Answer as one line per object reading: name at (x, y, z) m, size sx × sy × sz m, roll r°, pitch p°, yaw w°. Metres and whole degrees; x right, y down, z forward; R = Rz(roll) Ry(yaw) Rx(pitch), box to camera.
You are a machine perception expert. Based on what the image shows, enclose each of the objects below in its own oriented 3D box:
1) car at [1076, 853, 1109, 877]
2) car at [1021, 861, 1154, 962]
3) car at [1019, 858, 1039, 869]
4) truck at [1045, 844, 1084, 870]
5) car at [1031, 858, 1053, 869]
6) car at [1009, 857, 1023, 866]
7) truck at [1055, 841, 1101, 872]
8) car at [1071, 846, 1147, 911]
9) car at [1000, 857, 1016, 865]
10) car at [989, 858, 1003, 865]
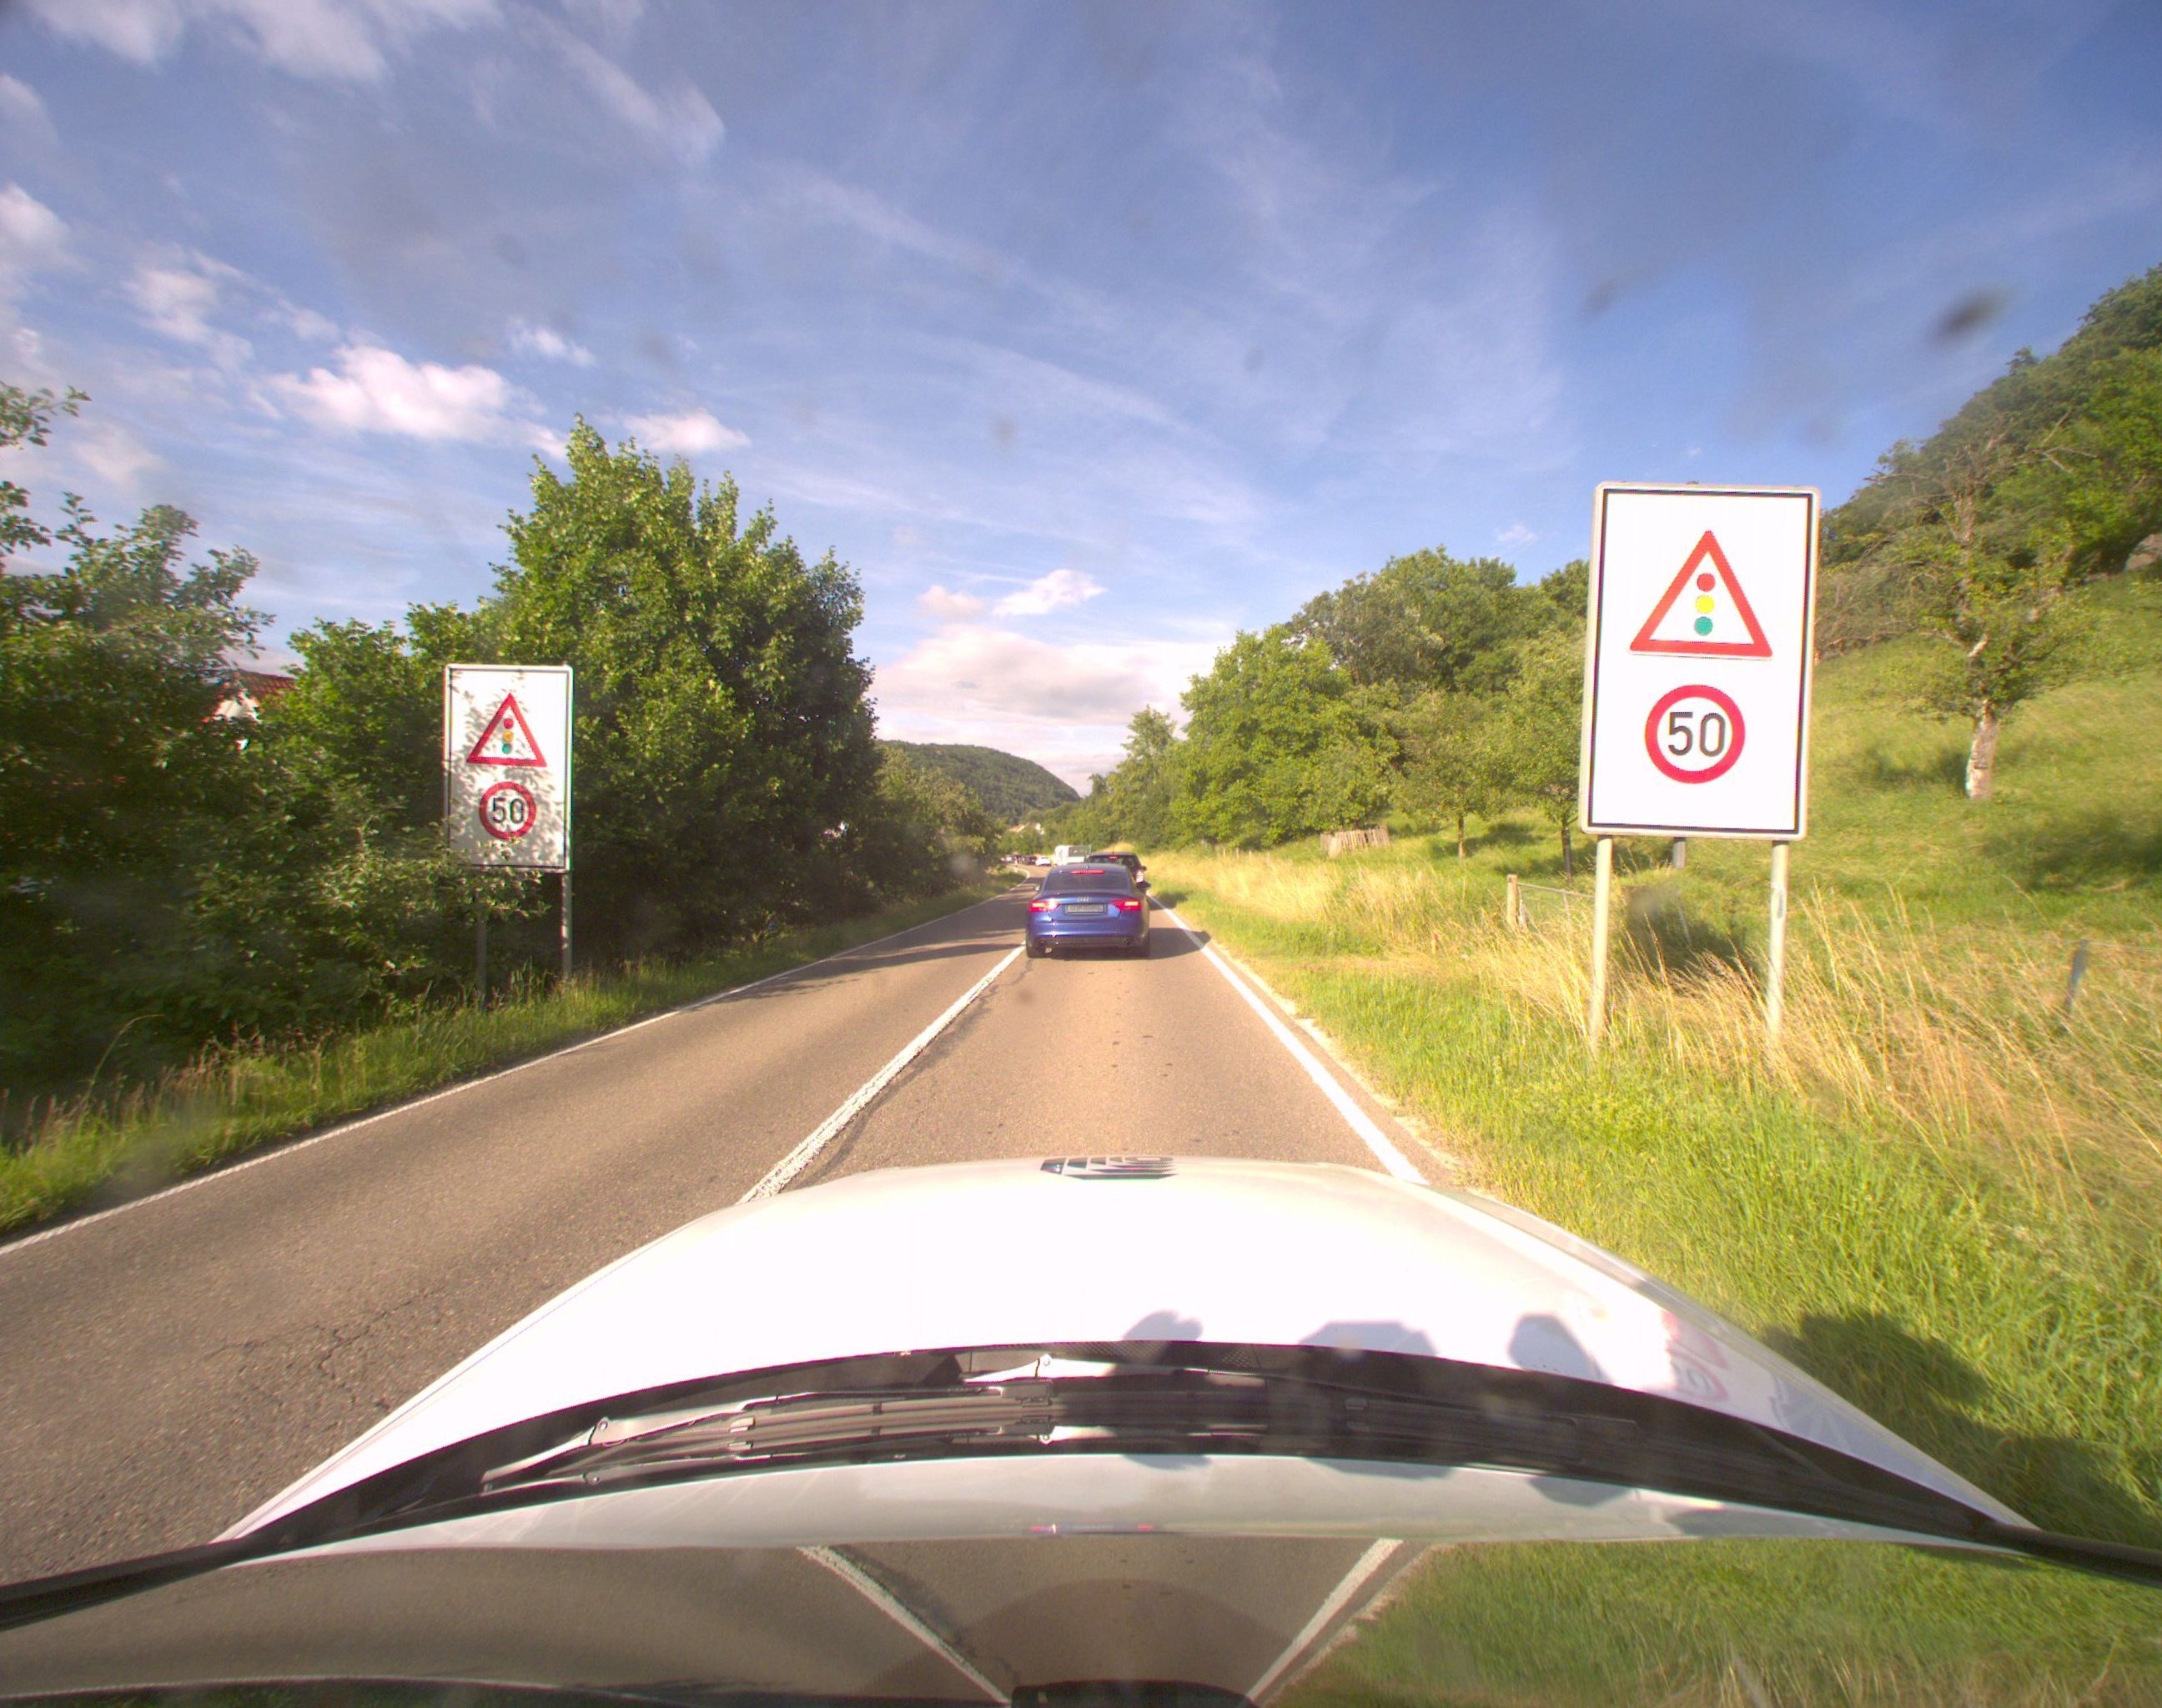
car at (0.778, 0.696, 51.561) m, size 1.986 × 1.482 × 4.002 m, roll -1°, pitch -1°, yaw 2°
car at (0.203, 0.800, 13.061) m, size 1.786 × 1.360 × 4.003 m, roll -1°, pitch -1°, yaw 3°
car at (-7.916, 1.447, 123.771) m, size 1.999 × 1.482 × 3.975 m, roll 0°, pitch -1°, yaw -18°
truck at (-1.925, 0.359, 89.132) m, size 2.863 × 2.665 × 10.613 m, roll -1°, pitch 0°, yaw -8°
car at (-5.441, 1.335, 113.533) m, size 1.999 × 1.482 × 3.975 m, roll 0°, pitch -1°, yaw -18°
car at (-11.594, 1.308, 145.276) m, size 1.996 × 1.482 × 3.980 m, roll 0°, pitch -1°, yaw -14°
truck at (-0.425, 0.228, 75.073) m, size 2.863 × 2.665 × 10.362 m, roll -1°, pitch 0°, yaw -8°
car at (0.824, 0.664, 23.413) m, size 1.986 × 1.702 × 4.002 m, roll -1°, pitch -1°, yaw 2°
car at (-13.785, 1.346, 154.168) m, size 2.000 × 1.482 × 3.973 m, roll 0°, pitch -1°, yaw -20°
car at (-17.614, 1.534, 168.183) m, size 2.000 × 1.482 × 3.973 m, roll 0°, pitch -1°, yaw -20°
